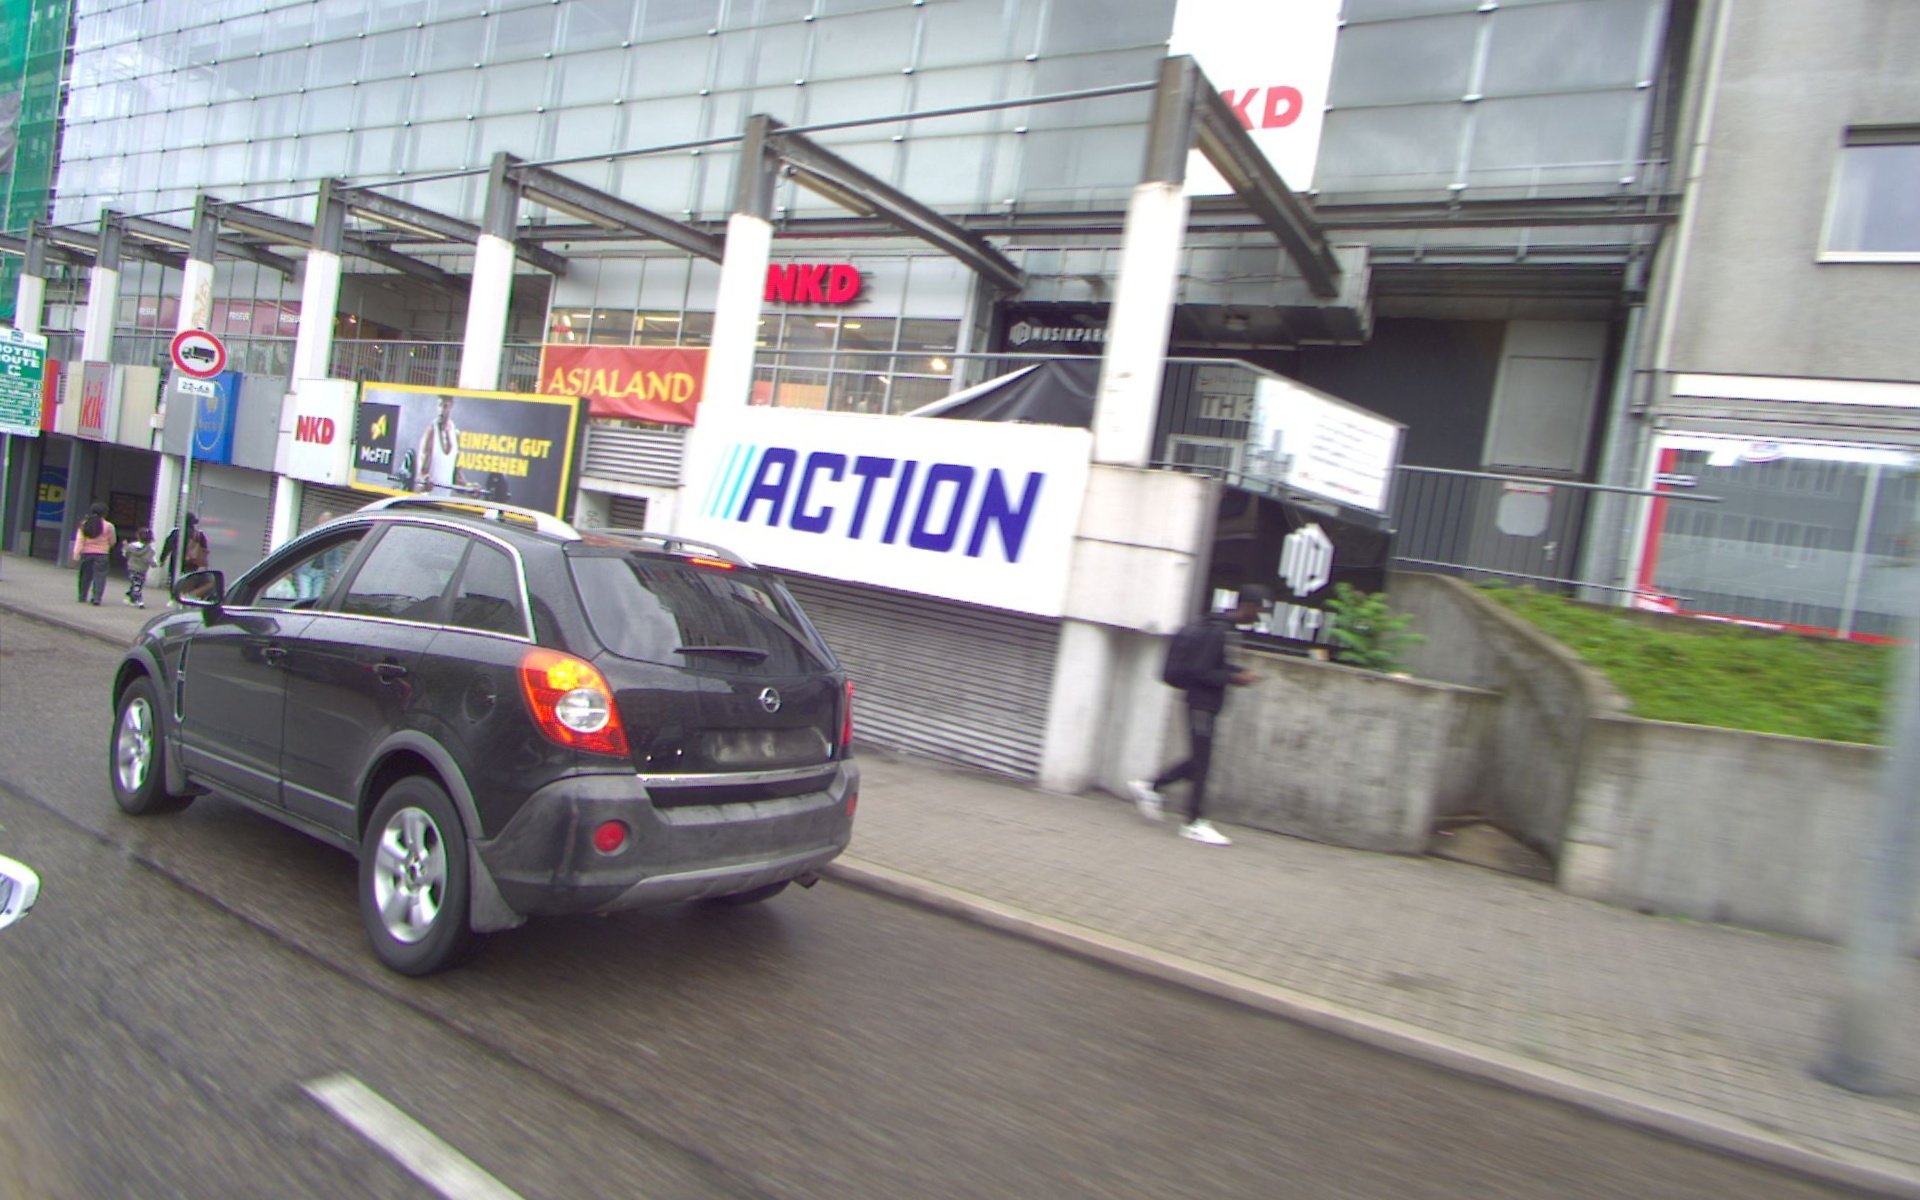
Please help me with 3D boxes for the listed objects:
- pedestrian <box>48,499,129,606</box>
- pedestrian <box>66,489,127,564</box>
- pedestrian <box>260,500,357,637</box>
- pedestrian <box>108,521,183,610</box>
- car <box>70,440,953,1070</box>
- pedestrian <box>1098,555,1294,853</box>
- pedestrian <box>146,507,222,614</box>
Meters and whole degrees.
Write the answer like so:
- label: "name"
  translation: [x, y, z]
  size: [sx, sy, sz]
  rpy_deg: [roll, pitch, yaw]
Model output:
- label: "pedestrian"
  translation: [-12.627, -0.676, 14.577]
  size: [0.588, 1.457, 0.744]
  rpy_deg: [8, 3, 39]
- label: "pedestrian"
  translation: [-21.401, -1.807, 24.928]
  size: [0.802, 1.737, 0.670]
  rpy_deg: [7, 2, 6]
- label: "pedestrian"
  translation: [-8.833, -0.412, 13.646]
  size: [0.608, 1.745, 0.834]
  rpy_deg: [8, 2, 39]
- label: "pedestrian"
  translation: [-12.064, -0.502, 14.901]
  size: [0.546, 1.223, 0.689]
  rpy_deg: [8, 2, 39]
- label: "car"
  translation: [-2.405, 0.358, 5.002]
  size: [4.232, 1.808, 1.908]
  rpy_deg: [8, 1, 34]
- label: "pedestrian"
  translation: [1.657, 0.689, 7.067]
  size: [0.995, 1.864, 0.600]
  rpy_deg: [8, 2, 29]
- label: "pedestrian"
  translation: [-11.631, -0.596, 15.079]
  size: [0.769, 1.486, 0.696]
  rpy_deg: [5, 2, -41]
